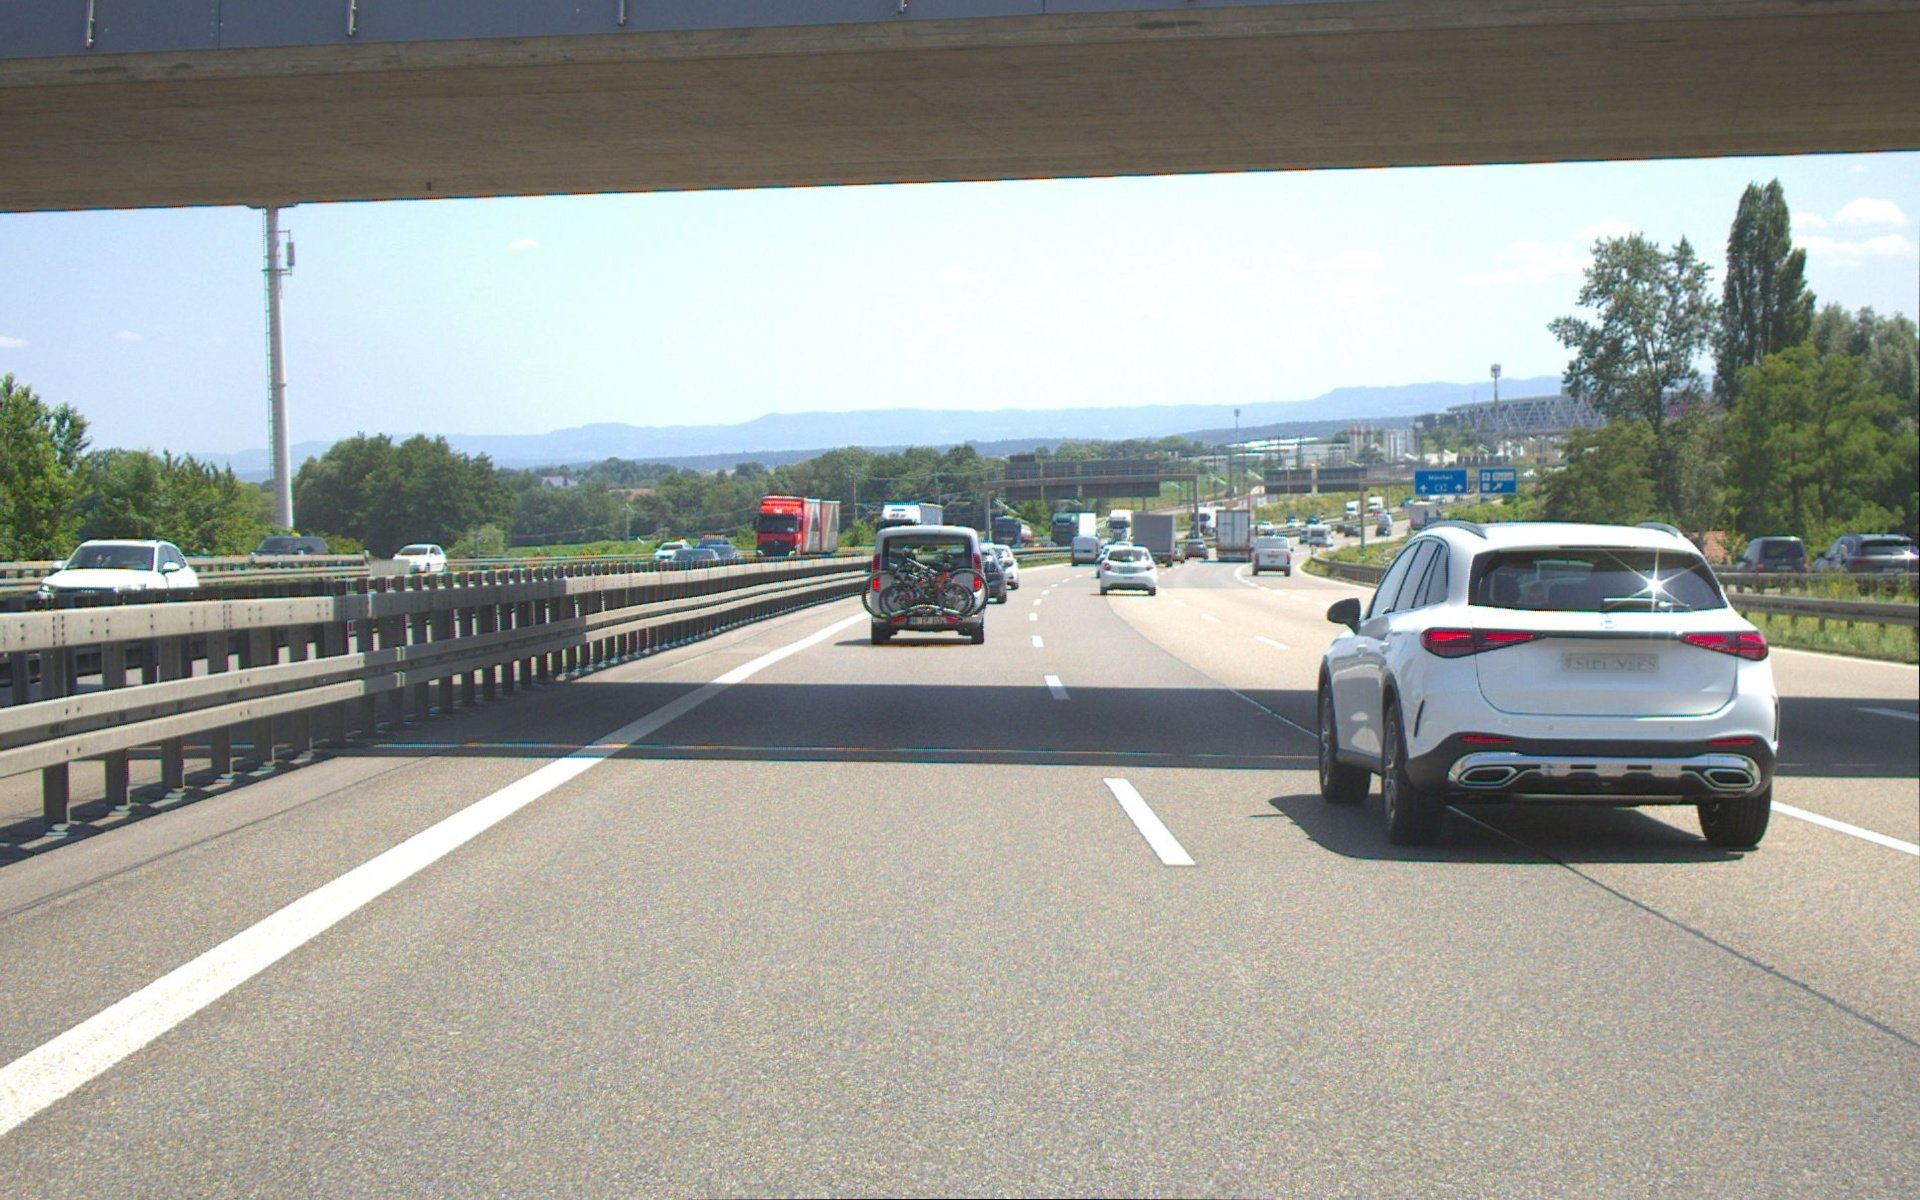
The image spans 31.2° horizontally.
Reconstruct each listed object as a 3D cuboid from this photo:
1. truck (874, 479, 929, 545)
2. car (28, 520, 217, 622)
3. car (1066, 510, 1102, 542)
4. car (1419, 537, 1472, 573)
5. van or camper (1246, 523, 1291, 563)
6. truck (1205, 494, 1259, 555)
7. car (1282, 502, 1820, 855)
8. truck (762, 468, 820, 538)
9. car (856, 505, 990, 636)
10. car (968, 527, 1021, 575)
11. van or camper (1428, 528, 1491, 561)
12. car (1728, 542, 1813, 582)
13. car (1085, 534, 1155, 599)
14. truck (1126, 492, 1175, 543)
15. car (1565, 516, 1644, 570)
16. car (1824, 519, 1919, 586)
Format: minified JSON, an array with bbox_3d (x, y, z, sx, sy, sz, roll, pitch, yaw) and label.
[{"bbox_3d":[-3.871,-5.851,229.523,2.928,4.330,6.914,1,1,5],"label":"truck"},{"bbox_3d":[-14.009,-0.510,57.803,1.928,1.633,4.977,0,1,0],"label":"car"},{"bbox_3d":[7.851,-4.668,217.413,2.186,1.996,4.000,1,1,2],"label":"car"},{"bbox_3d":[27.697,-2.566,196.253,1.993,2.007,4.001,1,1,-7],"label":"car"},{"bbox_3d":[15.621,-2.892,174.242,2.156,2.007,4.304,1,1,4],"label":"van or camper"},{"bbox_3d":[20.999,-5.895,265.343,4.040,4.247,11.757,0,3,4],"label":"truck"},{"bbox_3d":[3.019,0.335,18.686,1.898,1.641,4.999,1,1,-2],"label":"car"},{"bbox_3d":[-10.123,-5.797,206.904,2.582,4.101,10.348,1,1,2],"label":"truck"},{"bbox_3d":[-0.528,-0.473,53.606,1.926,1.912,4.948,1,1,1],"label":"car"},{"bbox_3d":[1.161,-1.641,114.705,1.576,1.547,3.964,1,1,3],"label":"car"},{"bbox_3d":[31.331,-3.495,215.917,2.528,2.007,4.462,1,1,-11],"label":"van or camper"},{"bbox_3d":[26.495,-1.242,112.513,1.699,1.273,4.000,1,1,-2],"label":"car"},{"bbox_3d":[4.853,-1.021,104.767,1.926,1.912,4.518,1,1,0],"label":"car"},{"bbox_3d":[12.013,-5.195,217.268,2.702,3.098,10.659,1,1,1],"label":"truck"},{"bbox_3d":[23.423,-2.064,125.021,1.939,1.917,4.180,1,1,-2],"label":"car"},{"bbox_3d":[22.070,-1.138,82.713,1.700,1.569,4.128,1,1,3],"label":"car"}]
